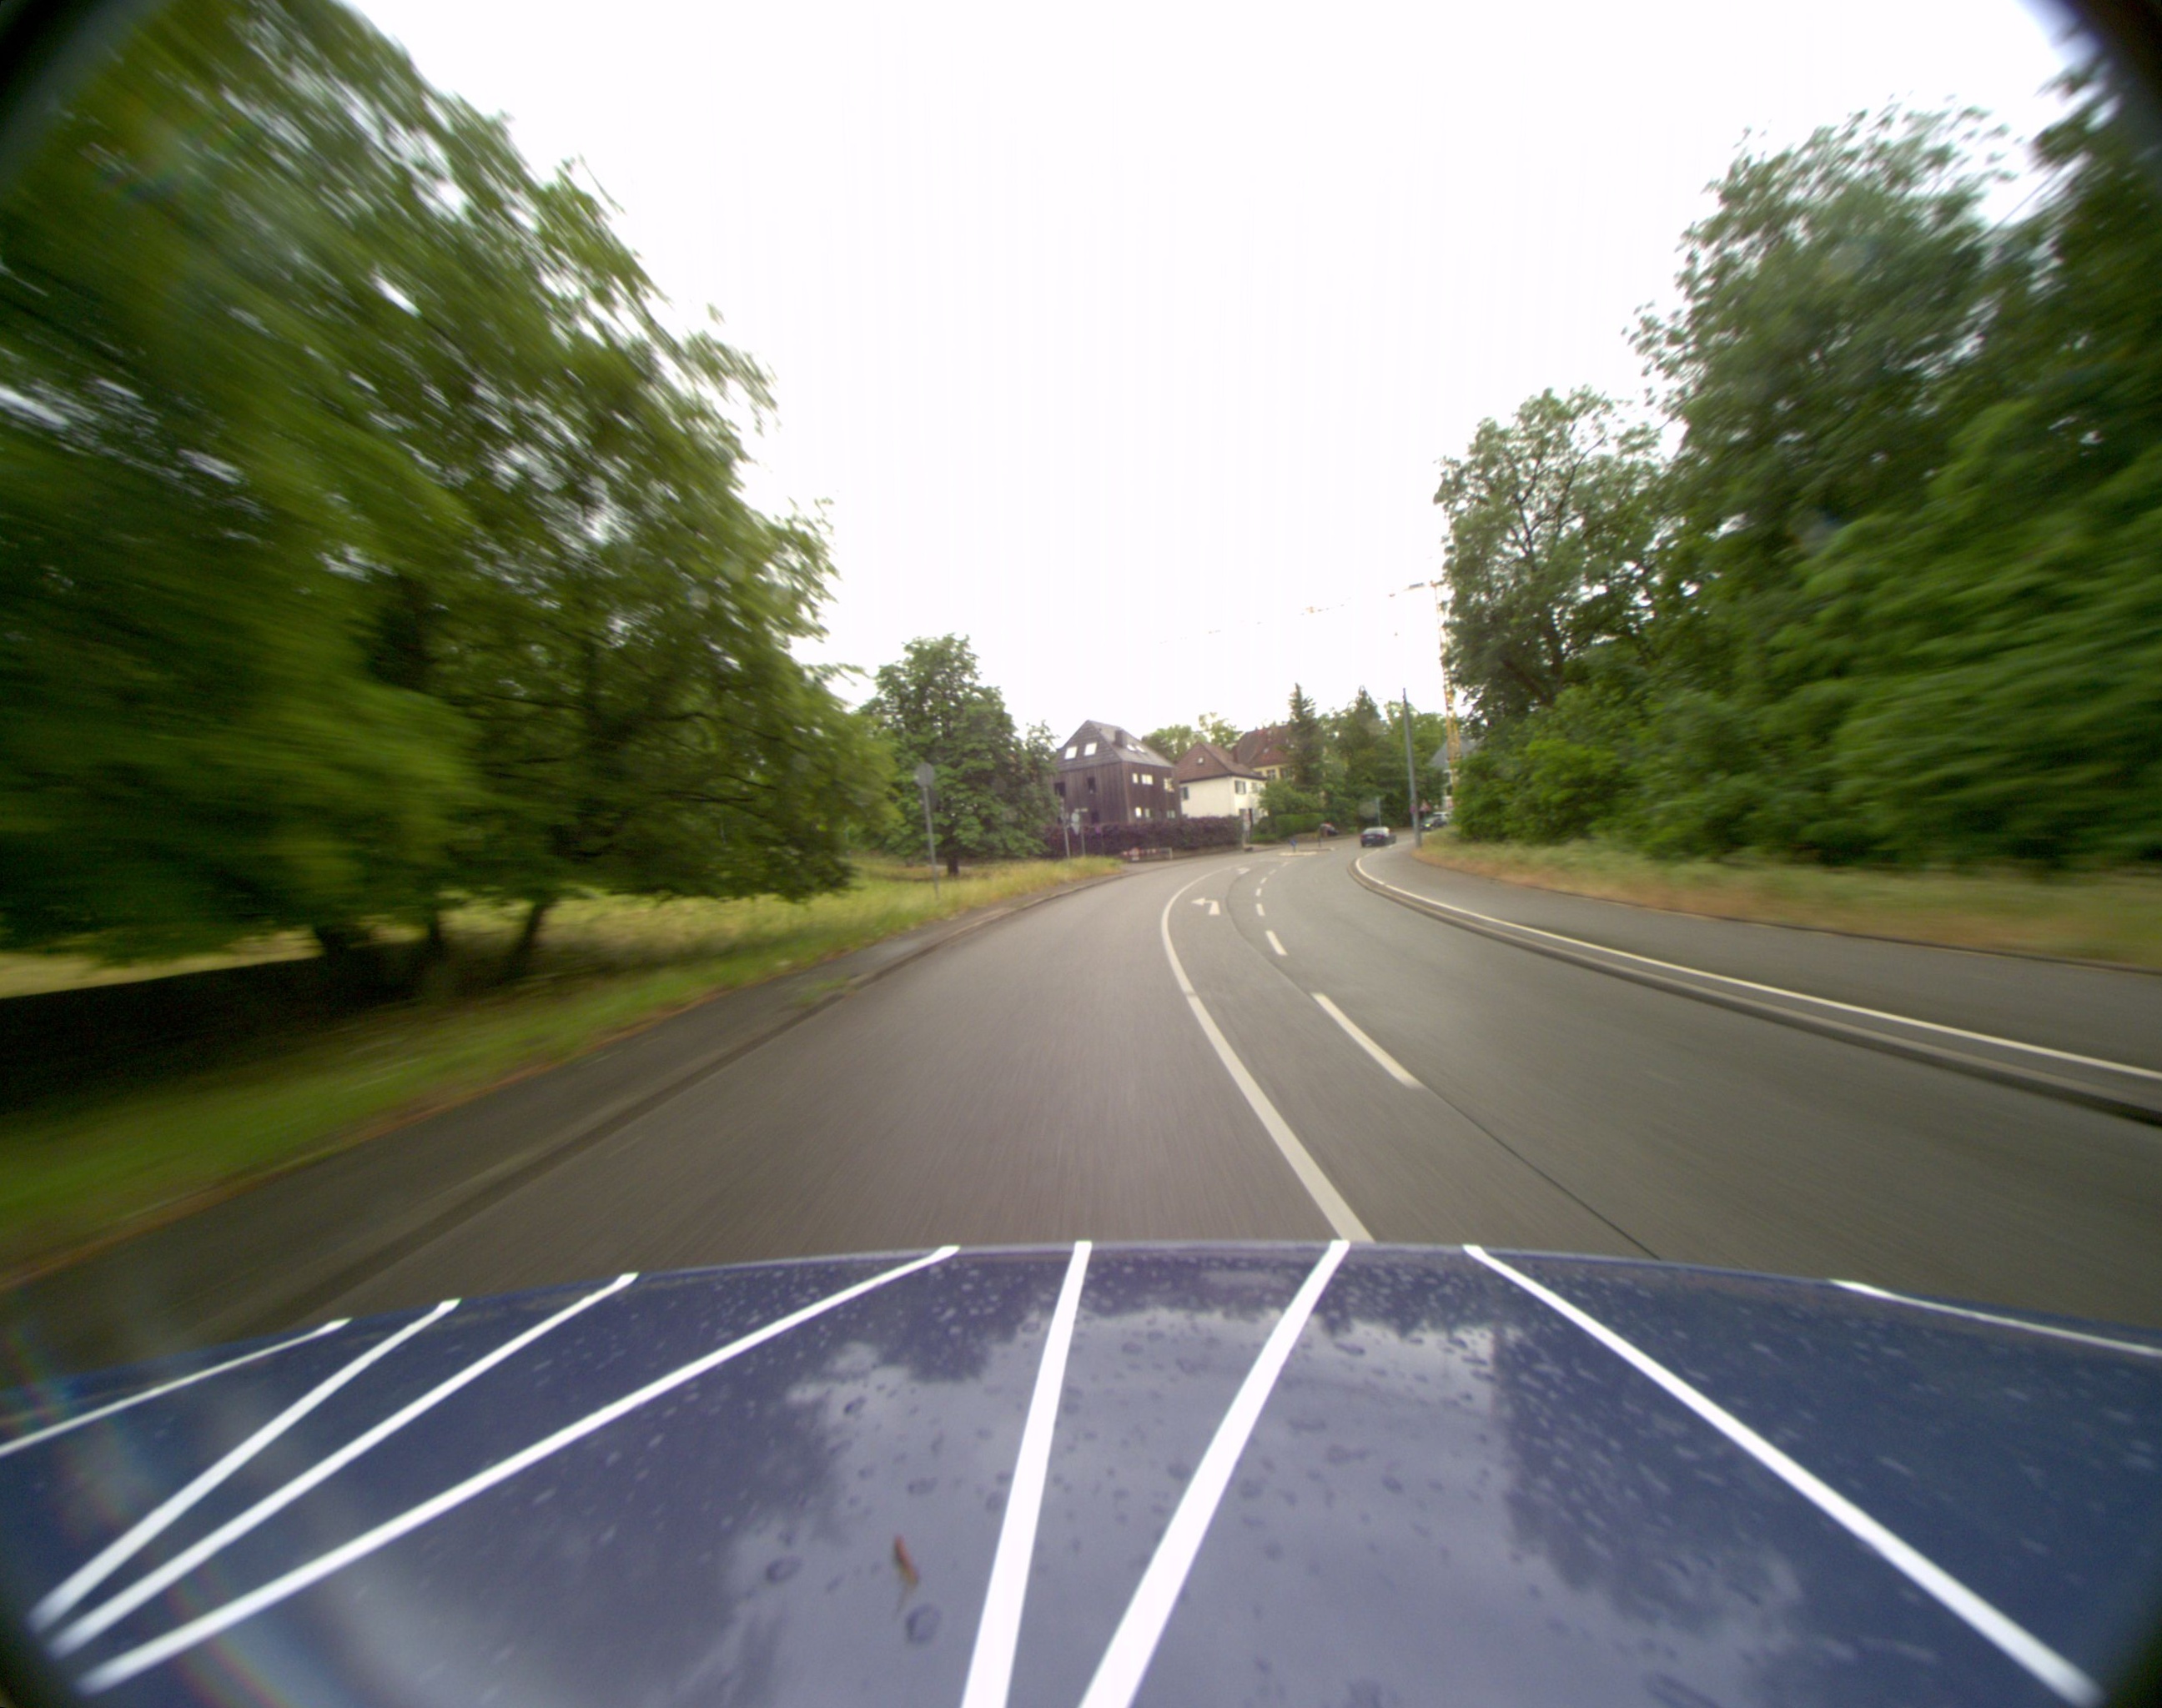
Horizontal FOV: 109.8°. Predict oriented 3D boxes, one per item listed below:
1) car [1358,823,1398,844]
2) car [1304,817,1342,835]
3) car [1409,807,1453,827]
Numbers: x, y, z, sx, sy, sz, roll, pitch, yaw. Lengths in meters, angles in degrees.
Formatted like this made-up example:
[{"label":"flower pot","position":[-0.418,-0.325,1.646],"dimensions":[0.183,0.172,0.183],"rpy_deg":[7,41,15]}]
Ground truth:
[{"label":"car","position":[23.385,-1.598,59.744],"dimensions":[1.847,1.493,4.639],"rpy_deg":[0,3,35]},{"label":"car","position":[26.200,-3.028,82.389],"dimensions":[3.480,1.404,1.430],"rpy_deg":[-7,0,41]},{"label":"car","position":[36.637,-3.914,79.571],"dimensions":[4.004,1.707,1.996],"rpy_deg":[-6,1,-26]}]
